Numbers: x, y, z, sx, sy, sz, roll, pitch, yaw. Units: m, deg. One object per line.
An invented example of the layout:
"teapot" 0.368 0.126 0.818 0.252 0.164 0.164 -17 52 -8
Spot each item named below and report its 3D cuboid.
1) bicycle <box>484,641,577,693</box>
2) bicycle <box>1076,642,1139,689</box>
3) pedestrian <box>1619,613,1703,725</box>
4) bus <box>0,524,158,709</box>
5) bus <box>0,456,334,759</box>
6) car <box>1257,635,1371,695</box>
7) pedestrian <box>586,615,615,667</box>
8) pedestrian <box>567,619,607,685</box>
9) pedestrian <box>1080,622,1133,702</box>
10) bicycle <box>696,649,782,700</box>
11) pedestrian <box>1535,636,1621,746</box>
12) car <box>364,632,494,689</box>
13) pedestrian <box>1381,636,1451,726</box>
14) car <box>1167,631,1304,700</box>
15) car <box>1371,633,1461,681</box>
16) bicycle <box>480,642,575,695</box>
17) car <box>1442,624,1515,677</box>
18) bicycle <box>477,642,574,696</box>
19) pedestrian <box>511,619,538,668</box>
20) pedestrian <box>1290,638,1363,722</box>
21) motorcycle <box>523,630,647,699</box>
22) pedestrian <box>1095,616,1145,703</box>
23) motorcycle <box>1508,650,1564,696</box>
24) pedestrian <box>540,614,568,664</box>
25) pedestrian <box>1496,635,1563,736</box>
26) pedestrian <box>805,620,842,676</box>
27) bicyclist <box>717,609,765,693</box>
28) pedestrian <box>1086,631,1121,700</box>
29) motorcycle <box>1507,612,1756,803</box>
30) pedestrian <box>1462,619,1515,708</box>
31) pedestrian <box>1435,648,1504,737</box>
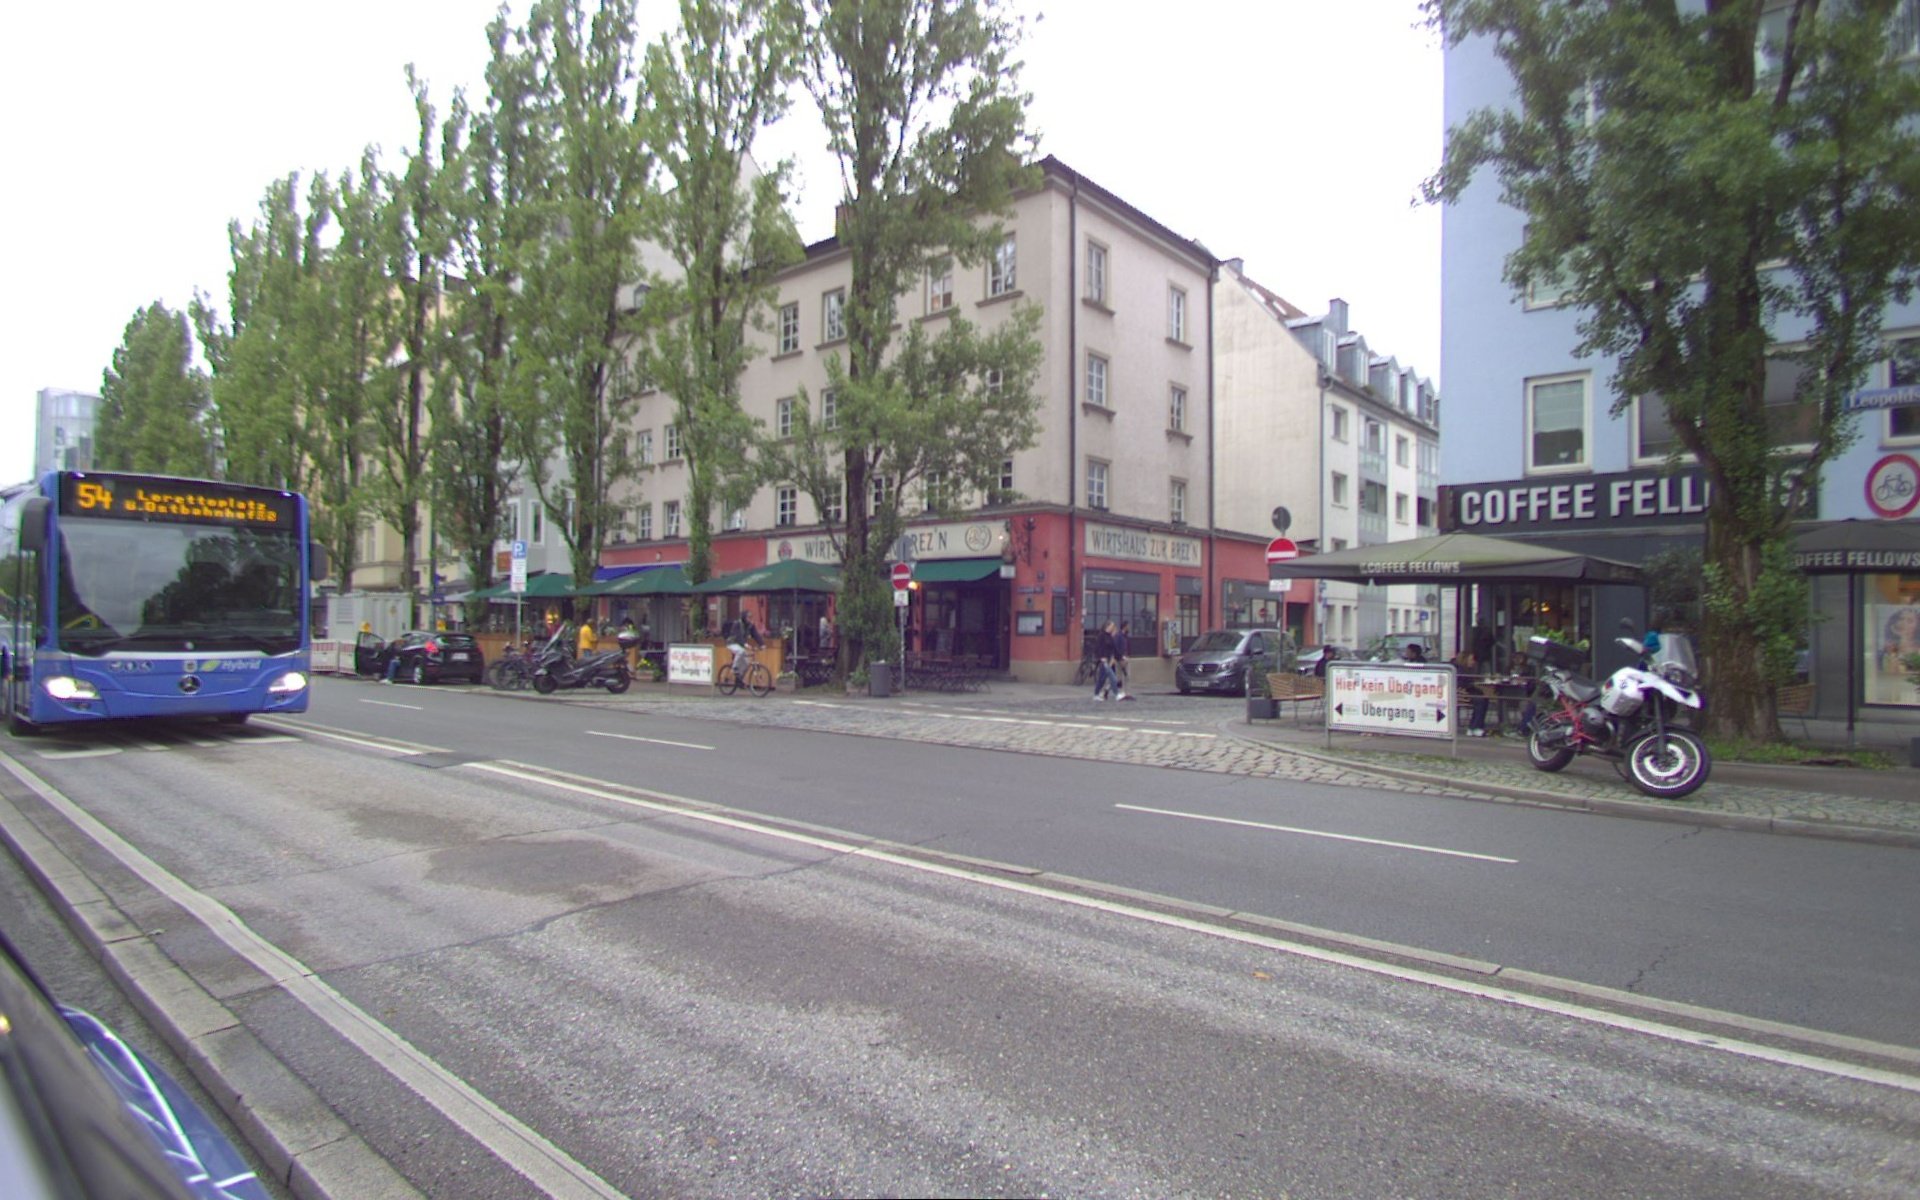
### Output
"bicycle" -9.875 1.541 23.290 1.949 1.134 0.283 -1 0 -12
"bicycle" 4.063 1.776 27.752 0.645 1.214 2.317 -1 -3 39
"pedestrian" 10.851 1.046 15.672 0.950 1.659 0.690 -2 -3 43
"bus" -18.801 0.368 20.095 10.046 2.972 2.655 -1 -2 41
"bus" -12.069 0.191 14.239 10.046 2.972 2.661 -1 -2 41
"car" 11.471 2.077 32.620 1.982 1.780 4.525 -1 -4 40
"pedestrian" -13.682 1.554 38.483 0.905 1.941 0.690 -2 -3 44
"pedestrian" -10.032 1.397 27.244 0.699 1.739 0.722 -1 -3 38
"pedestrian" 3.249 1.370 22.516 0.950 1.735 0.690 -2 -3 44
"bicycle" -4.631 1.534 21.123 2.173 0.976 0.605 -1 -2 42
"pedestrian" 8.080 1.165 13.232 0.847 1.373 0.690 -1 -3 40
"car" -14.566 1.623 27.704 3.780 1.433 1.739 -1 -3 38
"pedestrian" 7.235 1.262 16.053 0.819 1.373 0.690 -2 -3 44
"car" 7.773 1.803 28.251 1.982 1.780 4.525 -1 -4 40
"car" 18.175 2.254 40.245 2.116 1.780 4.525 -1 -4 40
"bicycle" -9.815 1.540 23.012 1.949 1.134 0.283 -1 0 -12
"car" 24.385 2.388 47.524 1.982 2.384 4.523 -2 -4 42
"bicycle" -9.721 1.532 22.683 1.949 1.134 0.362 -1 0 -12
"pedestrian" -17.750 1.761 41.237 0.905 1.941 0.690 -2 -3 44
"pedestrian" 6.229 1.336 17.209 0.950 1.373 0.690 -2 -3 44
"motorcycle" -8.040 1.370 21.749 2.426 1.425 0.744 0 -2 8
"pedestrian" 3.670 1.351 23.196 0.905 1.941 0.690 -2 -3 44
"motorcycle" 15.879 1.989 27.871 0.738 1.213 2.729 -4 -5 42
"pedestrian" -15.799 1.512 39.391 0.905 1.941 0.690 -2 -3 44
"pedestrian" 8.029 1.179 14.255 0.699 1.373 0.706 -1 -3 39
"pedestrian" -4.152 1.452 30.708 0.689 1.659 0.930 2 -3 -44
"bicyclist" -4.569 1.048 21.091 0.816 1.718 0.598 -1 -2 42
"pedestrian" 3.469 1.558 24.427 0.726 1.636 0.696 0 -2 17
"motorcycle" 6.215 0.915 9.592 0.704 1.575 2.348 0 -1 -2
"pedestrian" 10.917 1.302 20.926 0.692 1.786 0.947 0 -2 10
"pedestrian" 7.214 1.289 14.316 0.699 1.192 0.807 -1 -3 39
